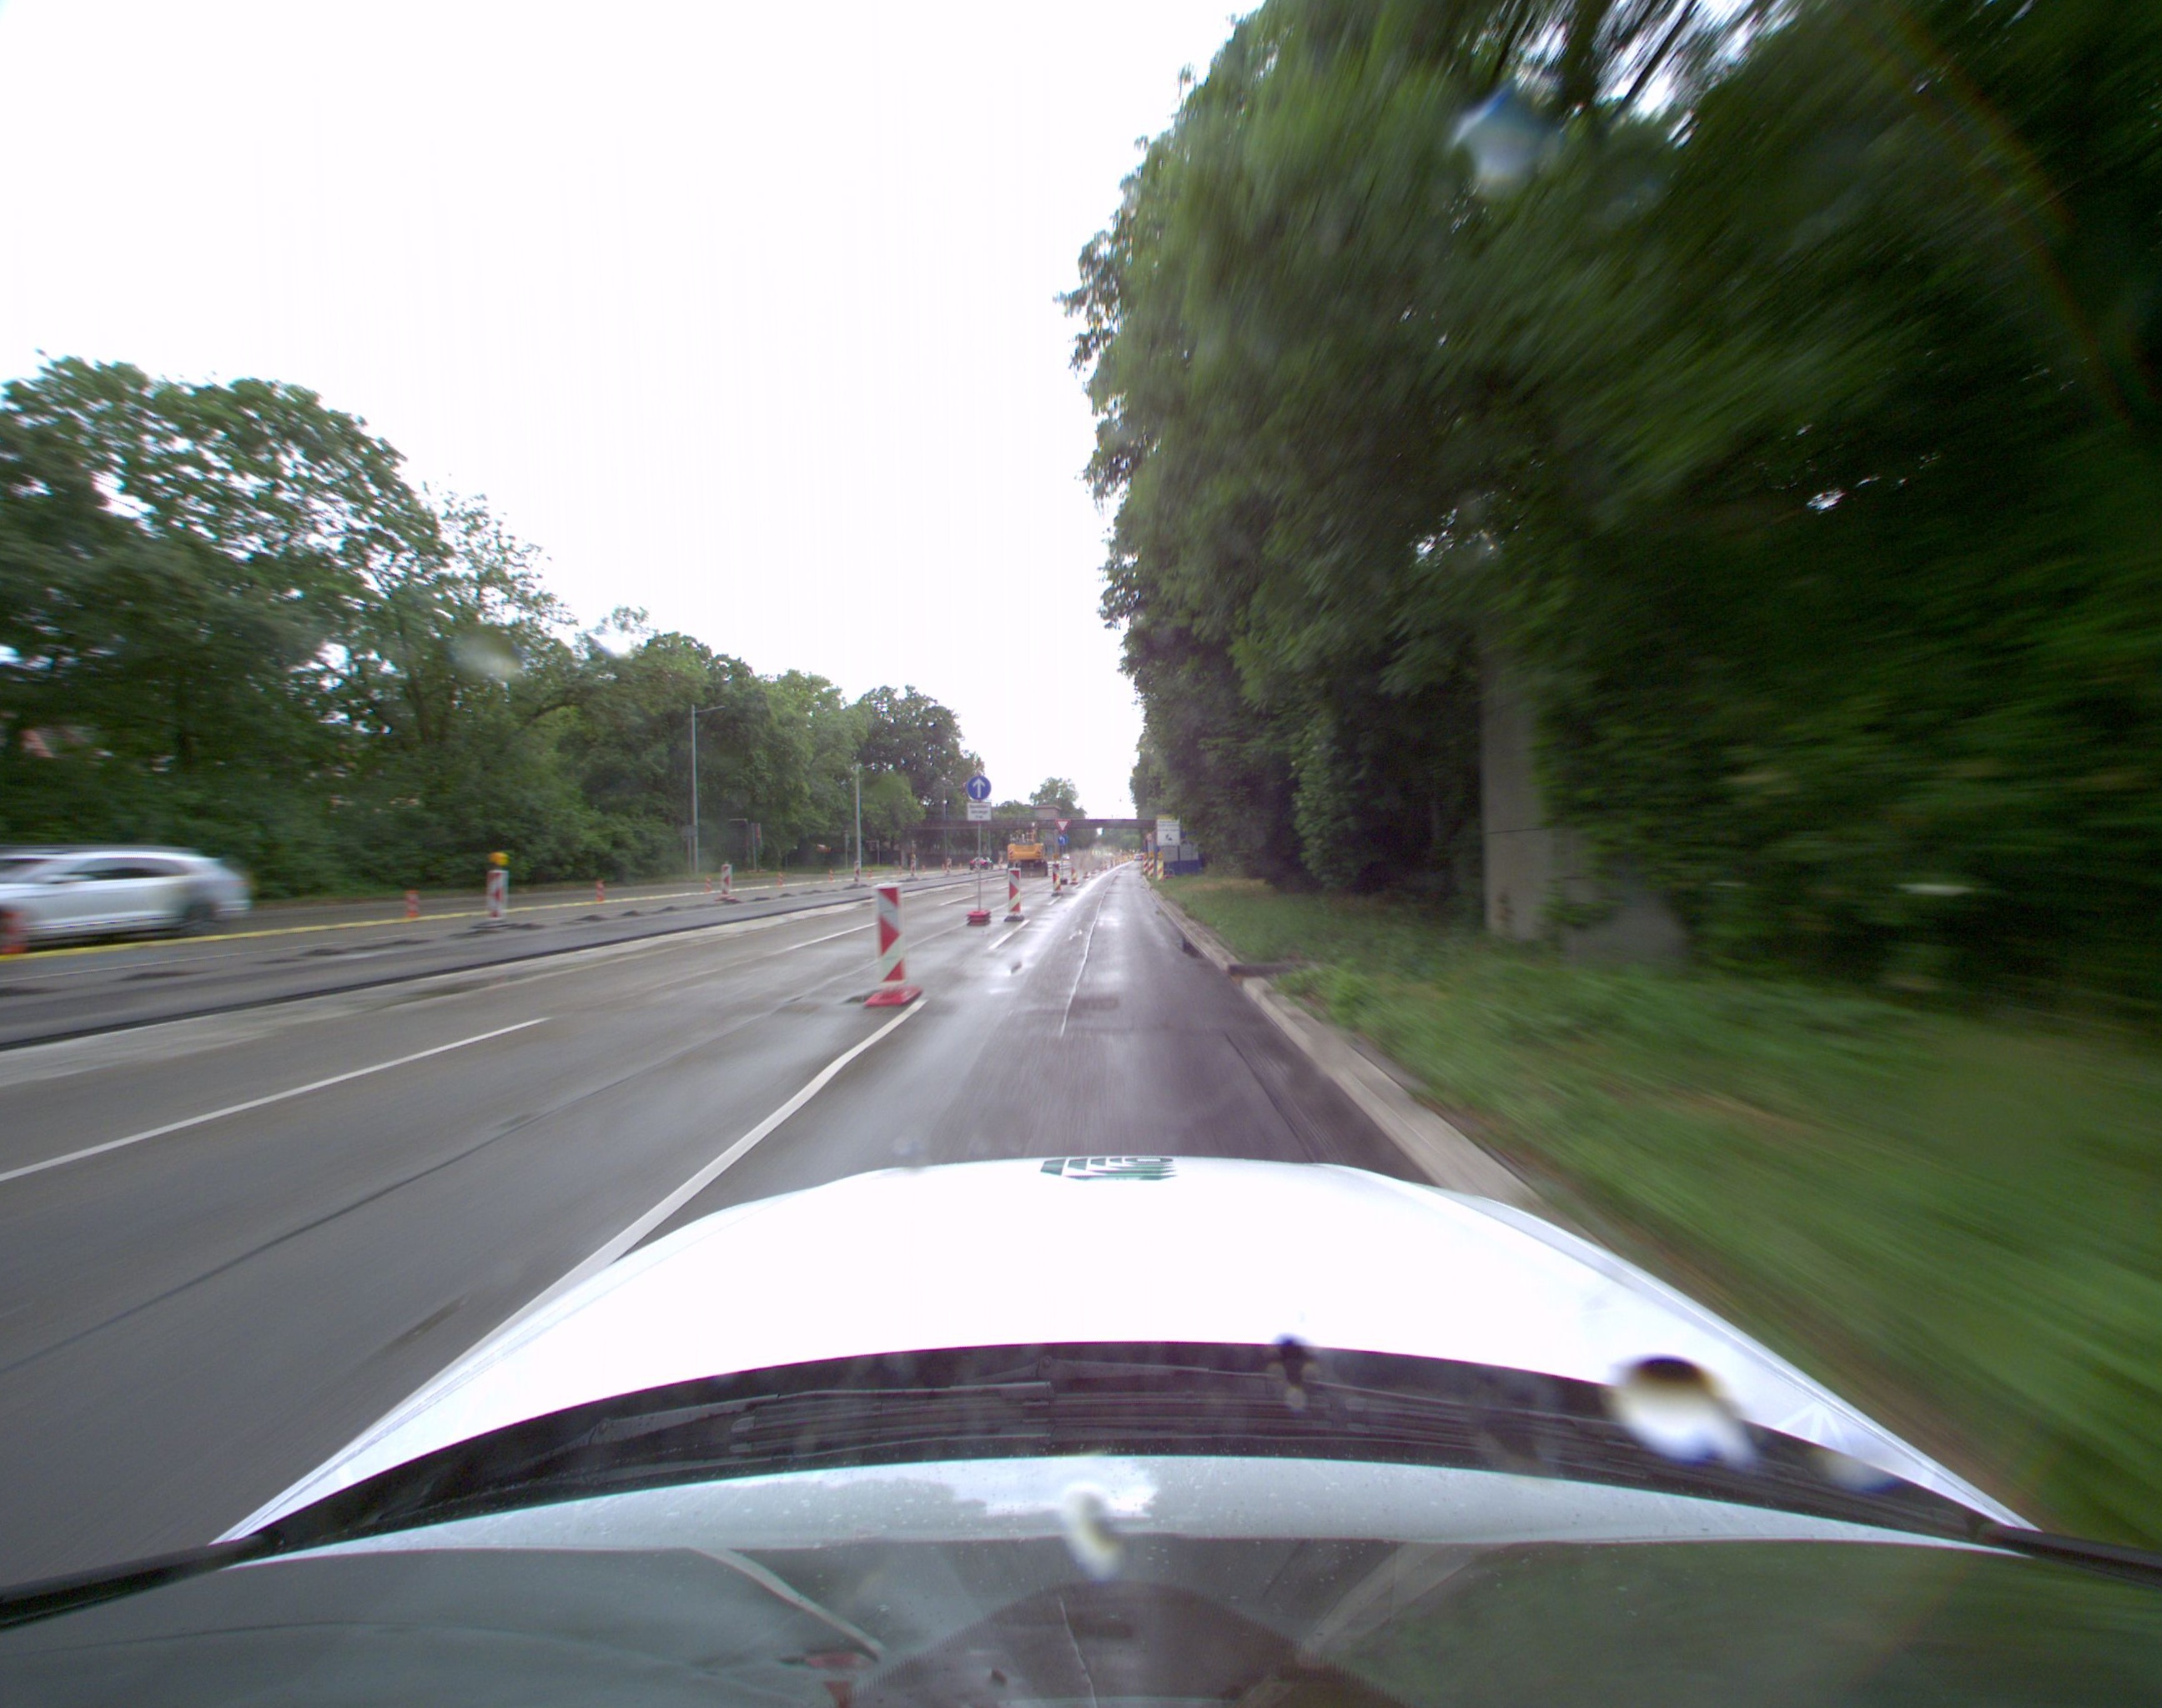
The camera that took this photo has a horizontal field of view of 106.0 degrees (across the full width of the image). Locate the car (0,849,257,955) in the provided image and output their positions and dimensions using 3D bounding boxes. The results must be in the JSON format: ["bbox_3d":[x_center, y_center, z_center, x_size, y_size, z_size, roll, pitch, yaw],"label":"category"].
[{"bbox_3d":[-17.901,0.755,14.264,1.883,1.661,4.894,0,0,1],"label":"car"}]

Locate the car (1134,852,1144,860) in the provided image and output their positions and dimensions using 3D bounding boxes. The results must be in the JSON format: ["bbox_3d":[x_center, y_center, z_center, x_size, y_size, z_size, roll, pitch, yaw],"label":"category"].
[{"bbox_3d":[13.048,0.383,183.185,1.984,1.640,4.005,-2,0,4],"label":"car"}]

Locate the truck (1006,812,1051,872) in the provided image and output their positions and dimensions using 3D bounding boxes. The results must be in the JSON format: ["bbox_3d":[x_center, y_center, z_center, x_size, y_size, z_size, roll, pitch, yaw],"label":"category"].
[{"bbox_3d":[-3.942,-0.885,63.565,2.888,4.259,10.753,0,0,0],"label":"truck"}]
